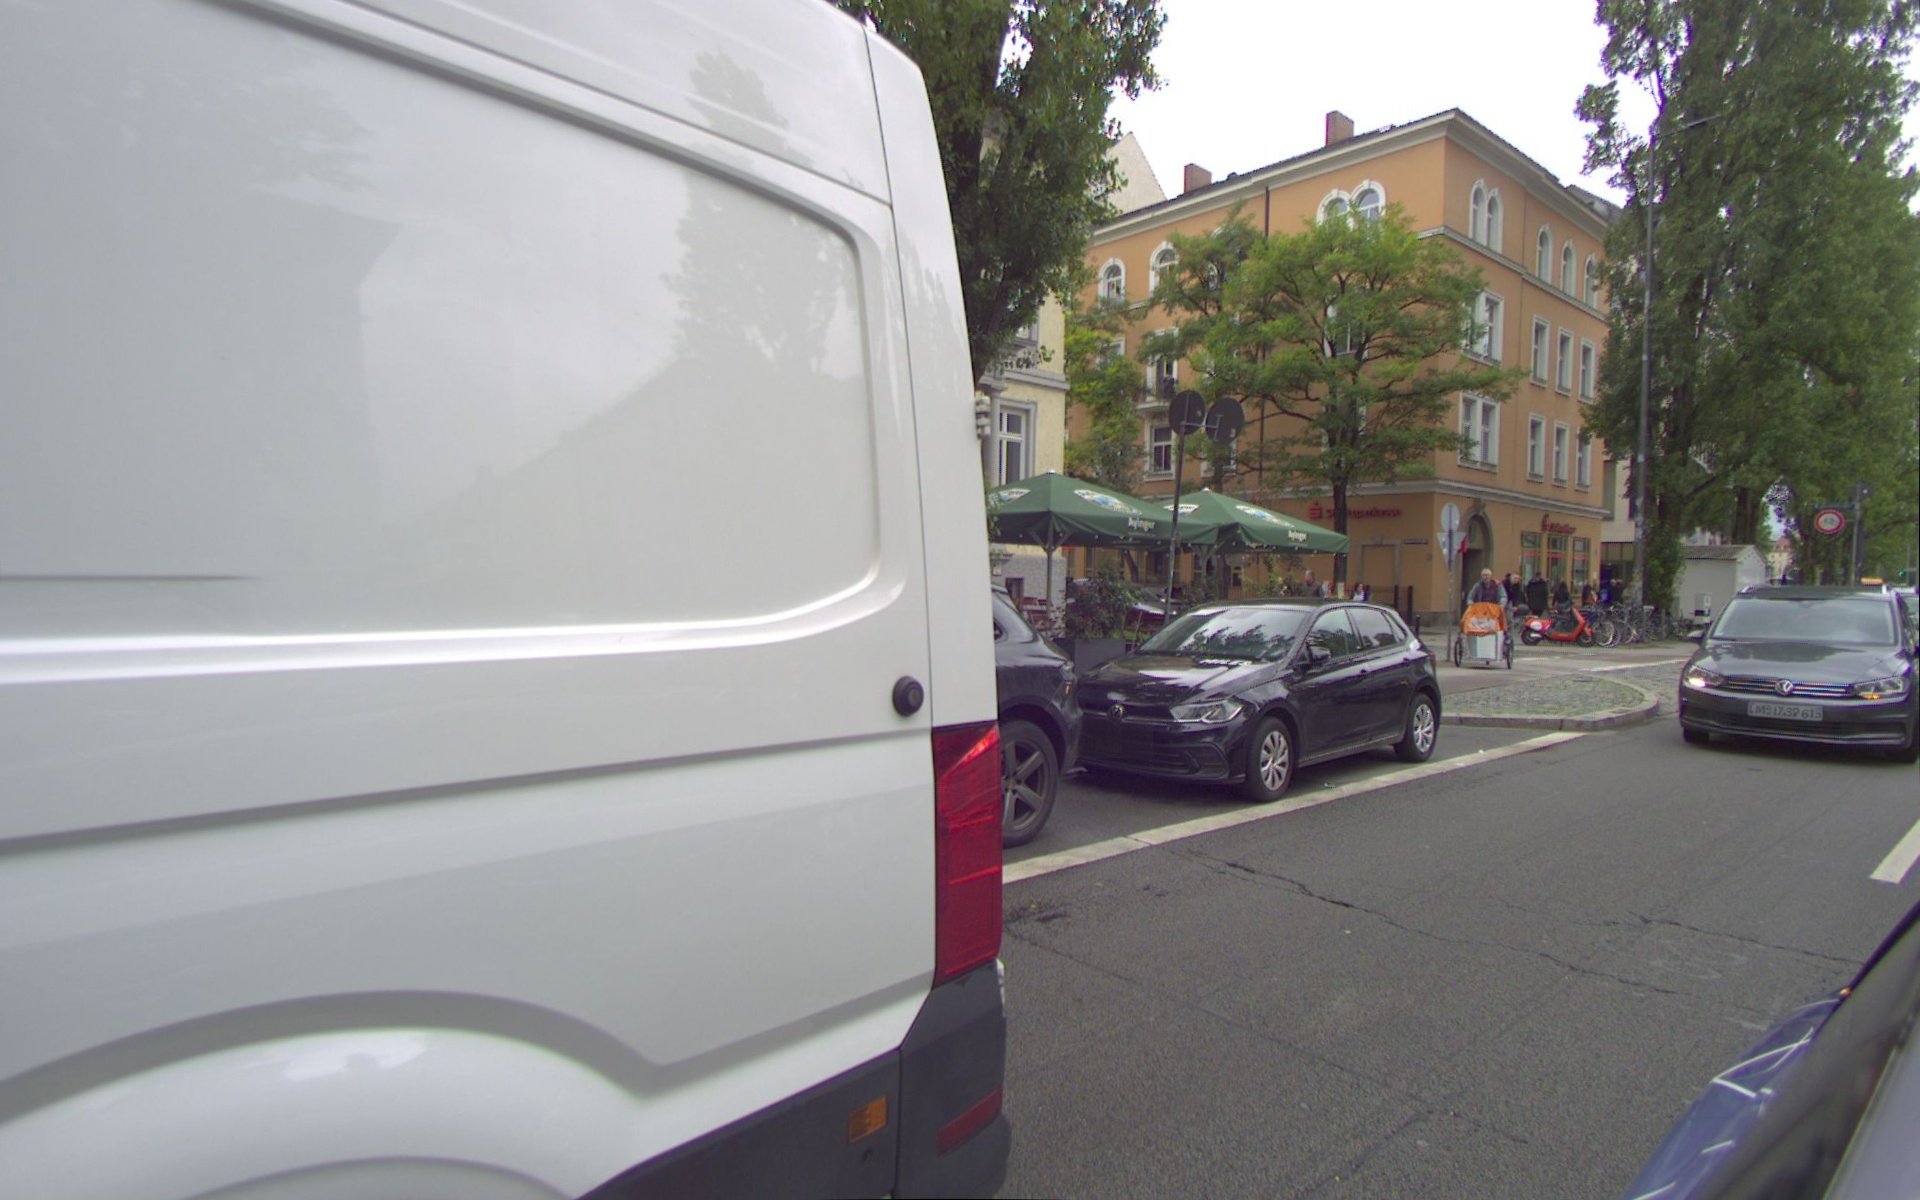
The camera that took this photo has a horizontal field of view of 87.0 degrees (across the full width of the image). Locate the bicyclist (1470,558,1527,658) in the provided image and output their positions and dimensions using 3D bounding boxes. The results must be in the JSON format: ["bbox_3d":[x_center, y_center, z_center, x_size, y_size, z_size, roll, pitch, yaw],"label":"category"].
[{"bbox_3d":[9.907,0.137,18.615,0.826,1.779,0.659,2,1,36],"label":"bicyclist"}]

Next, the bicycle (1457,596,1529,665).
[{"bbox_3d":[9.682,0.518,18.343,0.882,1.134,2.075,2,1,35],"label":"bicycle"}]

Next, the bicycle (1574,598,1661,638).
[{"bbox_3d":[18.323,0.472,28.238,0.551,1.022,1.945,0,2,-39],"label":"bicycle"}]

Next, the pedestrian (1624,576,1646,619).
[{"bbox_3d":[27.238,-0.106,40.826,0.633,1.715,0.565,0,0,44],"label":"pedestrian"}]

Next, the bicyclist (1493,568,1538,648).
[{"bbox_3d":[12.238,0.166,22.304,0.732,1.708,0.743,1,1,21],"label":"bicyclist"}]

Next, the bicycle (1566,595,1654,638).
[{"bbox_3d":[17.872,0.448,27.852,0.551,1.089,1.945,0,2,-39],"label":"bicycle"}]

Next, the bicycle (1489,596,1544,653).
[{"bbox_3d":[12.231,0.509,22.300,0.729,1.134,2.088,2,1,21],"label":"bicycle"}]

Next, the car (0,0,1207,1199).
[{"bbox_3d":[-2.767,0.166,0.342,6.611,2.524,2.067,0,1,-41],"label":"car"}]

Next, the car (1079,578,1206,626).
[{"bbox_3d":[6.179,0.046,34.527,1.873,1.539,3.993,-1,1,-41],"label":"car"}]

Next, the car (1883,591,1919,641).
[{"bbox_3d":[33.032,0.511,34.571,4.421,1.634,1.787,0,1,-42],"label":"car"}]

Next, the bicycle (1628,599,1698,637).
[{"bbox_3d":[20.318,0.518,29.265,1.597,1.022,0.337,2,1,43],"label":"bicycle"}]

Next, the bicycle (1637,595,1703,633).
[{"bbox_3d":[21.494,0.413,30.660,1.593,1.098,0.319,2,1,28],"label":"bicycle"}]

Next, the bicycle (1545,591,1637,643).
[{"bbox_3d":[16.455,0.415,26.429,0.551,1.255,1.945,0,1,-39],"label":"bicycle"}]

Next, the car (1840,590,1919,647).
[{"bbox_3d":[27.901,0.513,30.315,4.421,1.572,1.787,0,1,-42],"label":"car"}]

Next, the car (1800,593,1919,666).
[{"bbox_3d":[20.276,0.606,21.488,3.920,1.451,1.620,0,0,-11],"label":"car"}]

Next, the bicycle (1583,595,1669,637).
[{"bbox_3d":[18.878,0.440,28.720,0.551,1.098,1.945,0,2,-39],"label":"bicycle"}]

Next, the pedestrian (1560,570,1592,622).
[{"bbox_3d":[20.388,-0.127,33.497,0.758,1.682,0.745,0,0,-43],"label":"pedestrian"}]

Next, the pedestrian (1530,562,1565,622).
[{"bbox_3d":[19.690,-0.268,33.912,0.837,1.973,0.789,0,0,44],"label":"pedestrian"}]

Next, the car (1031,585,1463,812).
[{"bbox_3d":[2.547,0.624,8.471,3.884,1.434,1.696,0,1,-43],"label":"car"}]

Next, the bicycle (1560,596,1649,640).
[{"bbox_3d":[17.366,0.459,27.319,0.551,1.102,1.945,0,2,-39],"label":"bicycle"}]

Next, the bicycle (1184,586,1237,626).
[{"bbox_3d":[9.119,0.203,36.910,0.551,1.389,1.945,0,0,-39],"label":"bicycle"}]

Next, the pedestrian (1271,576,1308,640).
[{"bbox_3d":[8.261,0.191,25.395,0.564,1.590,0.699,0,0,-38],"label":"pedestrian"}]

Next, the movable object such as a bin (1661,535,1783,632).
[{"bbox_3d":[27.052,-0.609,35.888,4.463,3.175,2.445,0,3,-41],"label":"movable object such as a bin"}]

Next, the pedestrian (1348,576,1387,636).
[{"bbox_3d":[10.994,0.141,27.293,0.651,1.590,0.746,0,0,-38],"label":"pedestrian"}]

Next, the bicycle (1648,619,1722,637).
[{"bbox_3d":[21.106,0.822,29.476,1.671,0.378,0.818,4,3,42],"label":"bicycle"}]

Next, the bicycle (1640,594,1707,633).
[{"bbox_3d":[21.354,0.399,30.325,1.588,1.098,0.339,2,1,28],"label":"bicycle"}]

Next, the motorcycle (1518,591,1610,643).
[{"bbox_3d":[15.524,0.420,26.063,1.939,1.236,0.510,2,1,25],"label":"motorcycle"}]

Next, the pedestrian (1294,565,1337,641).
[{"bbox_3d":[8.555,0.070,24.369,0.718,1.788,0.699,0,0,-38],"label":"pedestrian"}]

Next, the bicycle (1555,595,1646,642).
[{"bbox_3d":[16.950,0.459,26.821,0.551,1.151,1.945,0,2,-39],"label":"bicycle"}]

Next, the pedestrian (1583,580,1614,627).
[{"bbox_3d":[22.164,0.113,35.129,0.603,1.590,0.746,0,0,-38],"label":"pedestrian"}]

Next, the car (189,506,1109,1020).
[{"bbox_3d":[-1.301,0.502,5.416,4.371,1.658,1.805,0,1,-42],"label":"car"}]

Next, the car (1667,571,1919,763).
[{"bbox_3d":[9.055,0.550,10.530,4.120,1.611,1.881,0,1,-42],"label":"car"}]
